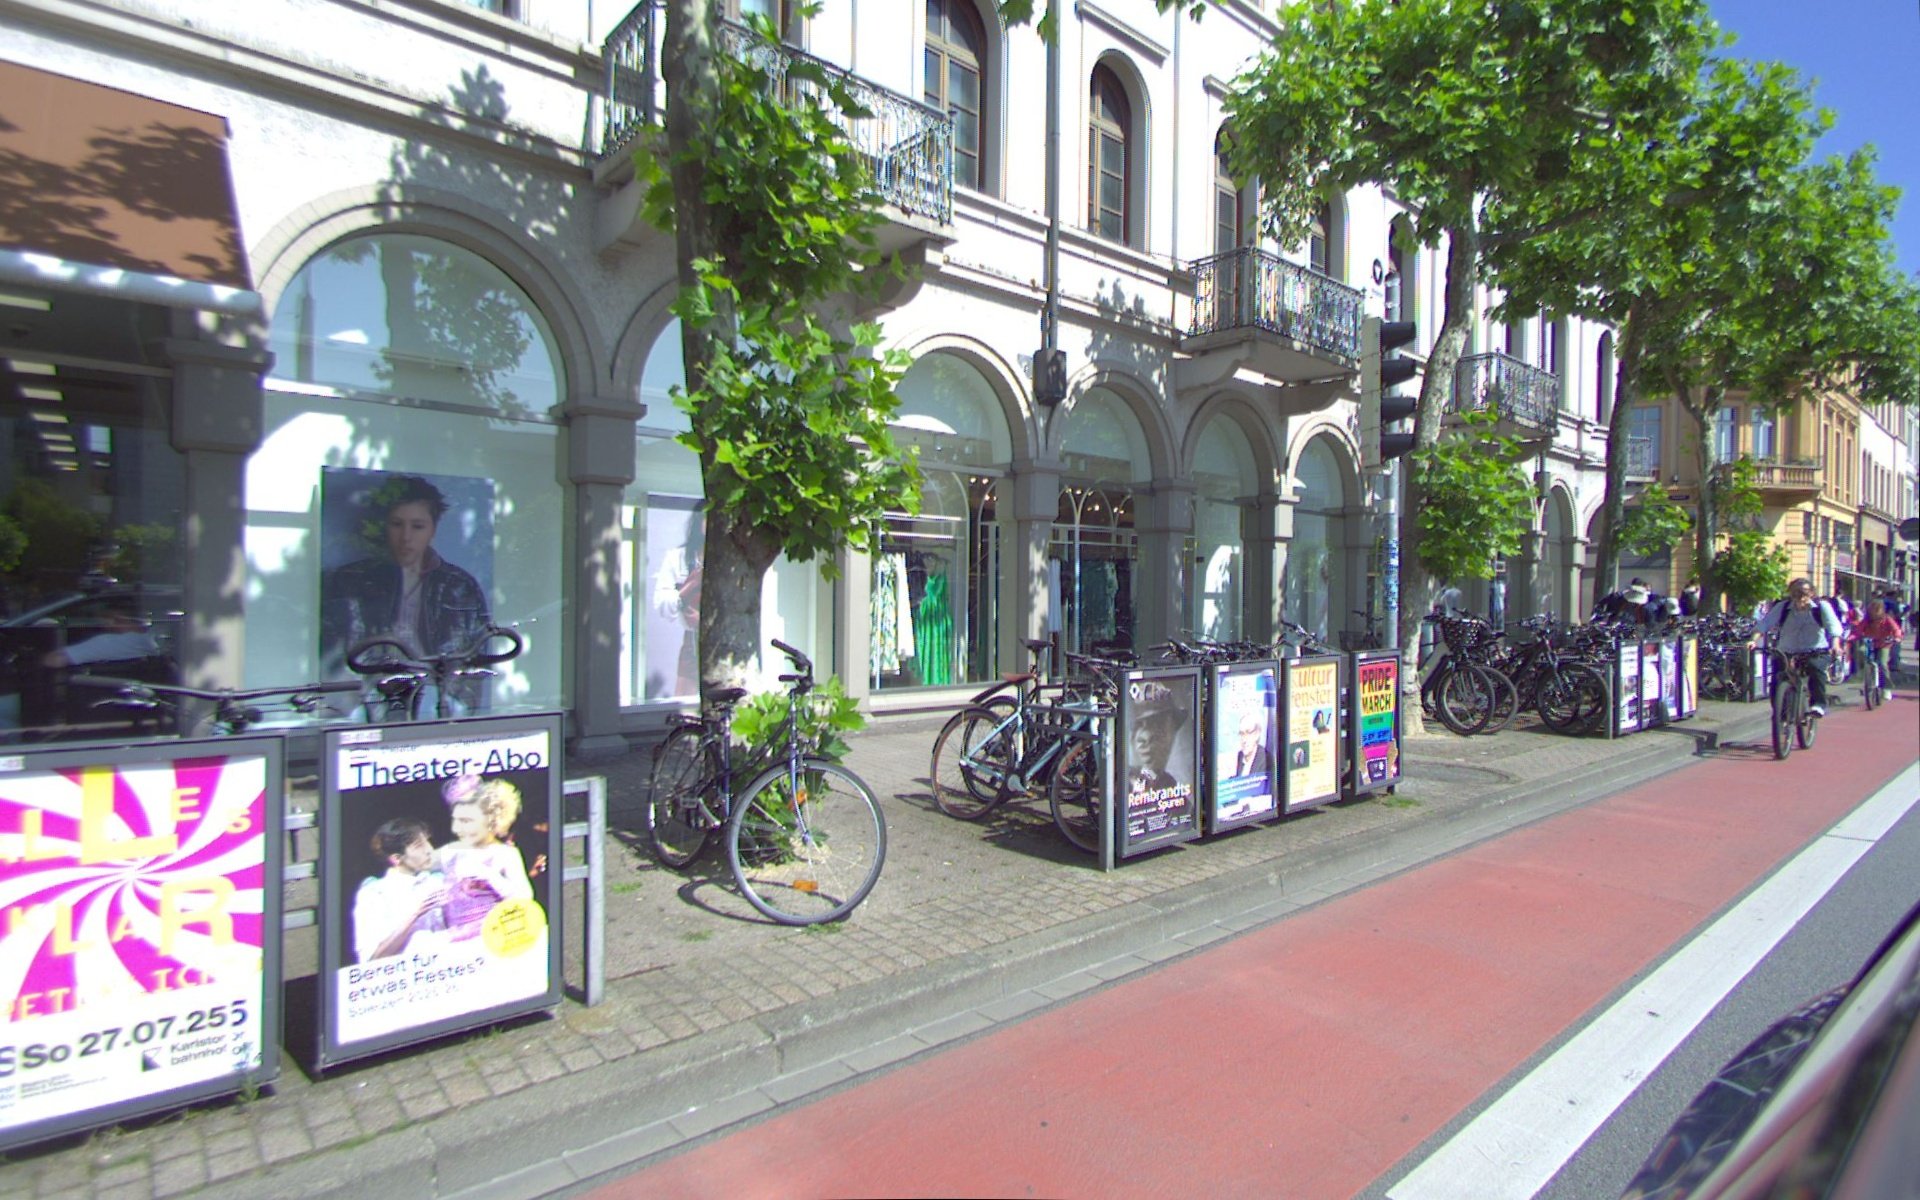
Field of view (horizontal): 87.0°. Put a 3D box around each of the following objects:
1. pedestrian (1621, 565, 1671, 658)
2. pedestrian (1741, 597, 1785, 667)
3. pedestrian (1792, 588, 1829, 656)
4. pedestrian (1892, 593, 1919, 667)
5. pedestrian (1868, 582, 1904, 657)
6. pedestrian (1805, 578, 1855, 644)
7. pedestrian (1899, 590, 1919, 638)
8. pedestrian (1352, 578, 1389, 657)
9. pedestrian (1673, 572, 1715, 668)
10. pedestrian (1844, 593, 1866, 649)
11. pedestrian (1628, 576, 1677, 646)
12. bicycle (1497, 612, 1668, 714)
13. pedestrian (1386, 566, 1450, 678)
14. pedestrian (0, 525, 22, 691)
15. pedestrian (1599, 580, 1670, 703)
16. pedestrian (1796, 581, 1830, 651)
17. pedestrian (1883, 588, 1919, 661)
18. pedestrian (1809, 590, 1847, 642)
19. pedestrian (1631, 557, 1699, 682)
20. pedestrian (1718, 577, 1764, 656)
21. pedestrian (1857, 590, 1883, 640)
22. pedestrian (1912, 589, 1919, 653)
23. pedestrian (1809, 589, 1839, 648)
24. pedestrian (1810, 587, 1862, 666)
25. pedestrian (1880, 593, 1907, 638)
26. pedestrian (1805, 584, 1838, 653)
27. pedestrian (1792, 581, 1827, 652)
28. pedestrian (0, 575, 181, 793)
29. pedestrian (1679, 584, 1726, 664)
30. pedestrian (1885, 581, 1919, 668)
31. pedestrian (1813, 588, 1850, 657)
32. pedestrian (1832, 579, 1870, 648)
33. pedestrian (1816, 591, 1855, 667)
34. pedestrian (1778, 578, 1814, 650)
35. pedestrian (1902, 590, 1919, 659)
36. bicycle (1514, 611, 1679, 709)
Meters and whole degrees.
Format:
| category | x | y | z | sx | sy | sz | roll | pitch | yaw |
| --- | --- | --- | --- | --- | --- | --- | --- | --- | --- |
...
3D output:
| category | x | y | z | sx | sy | sz | roll | pitch | yaw |
| --- | --- | --- | --- | --- | --- | --- | --- | --- | --- |
| pedestrian | 13.679 | 0.232 | 20.189 | 0.763 | 1.816 | 0.634 | 0 | -2 | -43 |
| pedestrian | 18.675 | 0.729 | 23.545 | 0.571 | 1.604 | 0.518 | -1 | -1 | -1 |
| pedestrian | 23.814 | 0.609 | 28.325 | 0.611 | 1.869 | 0.664 | 0 | -2 | -40 |
| pedestrian | 22.341 | 0.696 | 23.784 | 0.612 | 1.706 | 0.577 | 0 | -2 | -44 |
| pedestrian | 22.946 | 0.475 | 25.077 | 0.687 | 1.807 | 0.577 | 0 | 1 | -44 |
| pedestrian | 24.987 | 0.318 | 29.072 | 0.838 | 1.869 | 0.623 | -1 | -1 | -2 |
| pedestrian | 36.506 | 0.529 | 38.689 | 0.752 | 1.815 | 0.850 | 1 | 0 | 33 |
| pedestrian | 8.173 | 0.343 | 20.149 | 0.502 | 1.553 | 0.530 | -2 | -2 | 42 |
| pedestrian | 14.850 | 0.406 | 20.476 | 0.592 | 1.906 | 0.545 | 0 | -2 | -43 |
| pedestrian | 27.600 | 0.644 | 31.206 | 0.470 | 1.710 | 0.444 | 0 | 0 | -40 |
| pedestrian | 17.949 | 0.285 | 26.224 | 1.163 | 1.780 | 0.622 | 0 | -1 | -33 |
| bicycle | 7.849 | 0.752 | 12.827 | 0.582 | 1.161 | 1.755 | 0 | 0 | -42 |
| pedestrian | 7.194 | 0.337 | 15.890 | 0.664 | 1.718 | 0.658 | 0 | -2 | -39 |
| pedestrian | -8.336 | 0.071 | 8.505 | 0.407 | 1.405 | 0.525 | -1 | -1 | 2 |
| pedestrian | 8.829 | 0.526 | 13.253 | 0.655 | 1.558 | 0.605 | 0 | -2 | -42 |
| pedestrian | 21.740 | 0.408 | 25.791 | 0.612 | 1.762 | 0.577 | 0 | -2 | -44 |
| pedestrian | 22.671 | 0.588 | 24.360 | 0.581 | 1.705 | 0.568 | 0 | 2 | -44 |
| pedestrian | 30.997 | 0.570 | 36.157 | 0.732 | 1.828 | 0.736 | 1 | 0 | -18 |
| pedestrian | 11.211 | 0.299 | 16.101 | 0.763 | 1.927 | 0.701 | 0 | -2 | -43 |
| pedestrian | 17.780 | 0.365 | 23.038 | 0.741 | 1.763 | 0.675 | 0 | -2 | -43 |
| pedestrian | 31.207 | 0.508 | 34.711 | 0.575 | 1.680 | 0.613 | 1 | 0 | 38 |
| pedestrian | 26.766 | 0.564 | 27.880 | 0.599 | 1.758 | 0.642 | -1 | 0 | 27 |
| pedestrian | 27.665 | 0.582 | 32.404 | 0.594 | 1.837 | 0.578 | 0 | 3 | -40 |
| pedestrian | 19.322 | 0.584 | 22.340 | 0.568 | 1.706 | 0.621 | -1 | -1 | 3 |
| pedestrian | 36.078 | 0.591 | 39.120 | 0.683 | 1.706 | 0.571 | 1 | 0 | 35 |
| pedestrian | 23.262 | 0.492 | 27.333 | 0.685 | 1.825 | 0.577 | 0 | -2 | -44 |
| pedestrian | 21.270 | 0.412 | 25.344 | 0.612 | 1.746 | 0.577 | 0 | -2 | -44 |
| pedestrian | -5.674 | 0.517 | 6.496 | 0.851 | 1.323 | 0.654 | -1 | -1 | 2 |
| pedestrian | 17.302 | 0.553 | 23.577 | 0.763 | 1.805 | 0.720 | 0 | -2 | -43 |
| pedestrian | 20.745 | 0.537 | 22.200 | 0.706 | 1.869 | 0.577 | 0 | -2 | -44 |
| pedestrian | 20.665 | 0.519 | 24.005 | 0.612 | 1.604 | 0.577 | 0 | -2 | -44 |
| pedestrian | 24.534 | 0.364 | 27.864 | 0.612 | 1.882 | 0.685 | 0 | -2 | -44 |
| pedestrian | 20.031 | 0.646 | 23.145 | 0.762 | 1.706 | 0.577 | 0 | -2 | -44 |
| pedestrian | 20.232 | 0.342 | 24.491 | 0.612 | 1.706 | 0.577 | 0 | -2 | -44 |
| pedestrian | 24.228 | 0.613 | 25.573 | 0.658 | 1.706 | 0.577 | 0 | -1 | -44 |
| bicycle | 8.334 | 0.751 | 13.311 | 0.582 | 1.161 | 1.755 | 0 | 0 | -42 |
